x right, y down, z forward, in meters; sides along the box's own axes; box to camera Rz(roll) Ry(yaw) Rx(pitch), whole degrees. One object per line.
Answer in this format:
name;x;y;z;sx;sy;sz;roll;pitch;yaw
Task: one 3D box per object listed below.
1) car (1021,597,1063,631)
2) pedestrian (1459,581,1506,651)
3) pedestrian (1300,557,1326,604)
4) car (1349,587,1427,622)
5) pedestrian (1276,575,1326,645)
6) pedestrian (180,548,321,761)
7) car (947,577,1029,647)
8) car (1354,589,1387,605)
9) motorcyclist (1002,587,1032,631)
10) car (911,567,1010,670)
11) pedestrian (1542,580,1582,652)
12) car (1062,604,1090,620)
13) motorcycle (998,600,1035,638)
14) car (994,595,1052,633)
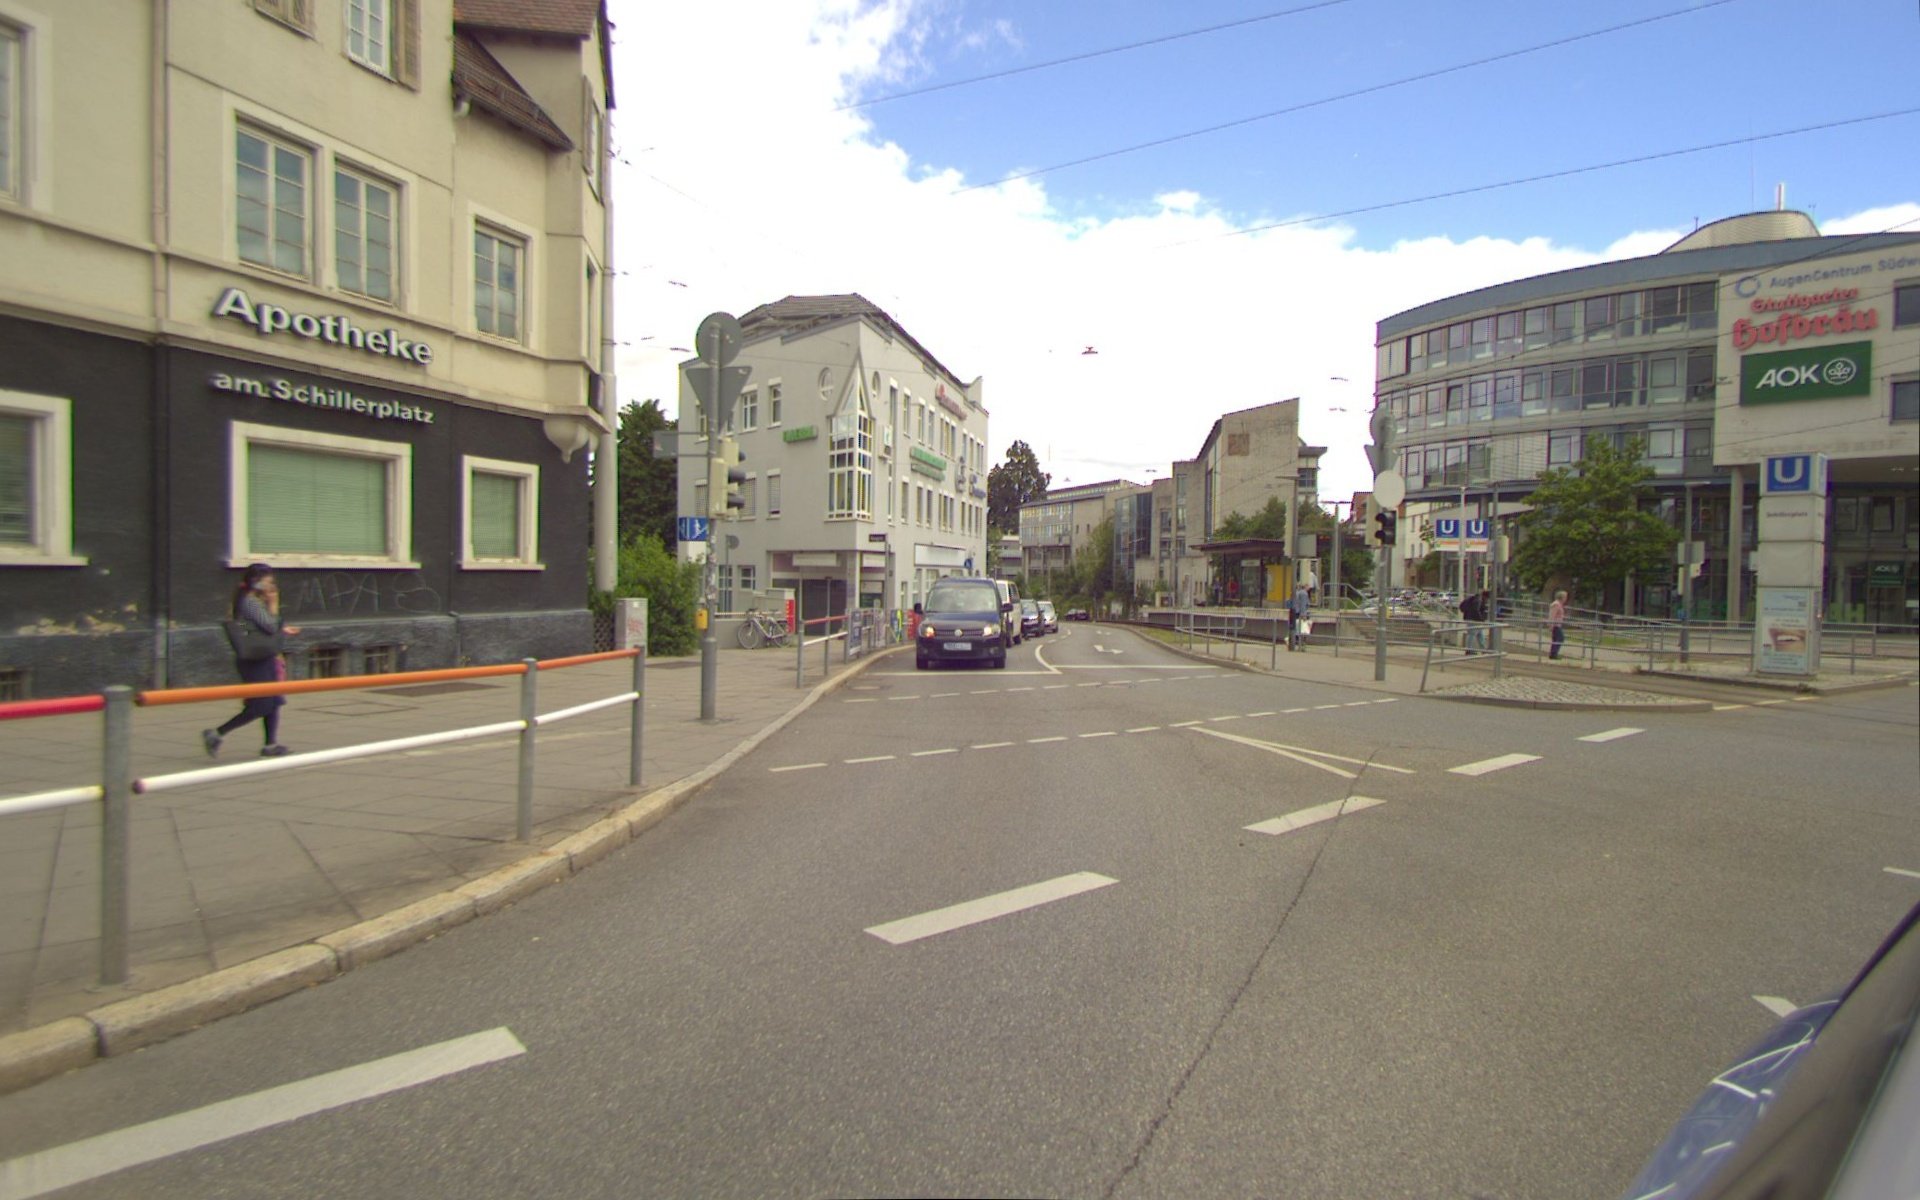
car;3.957;0.617;48.279;1.848;1.456;4.743;0;1;6
pedestrian;12.673;0.388;24.570;0.833;1.655;0.642;-1;-2;15
pedestrian;13.632;-0.750;39.103;0.682;1.766;0.615;-1;-2;-5
car;22.658;0.202;53.761;1.960;1.732;4.324;0;1;-6
pedestrian;8.243;0.226;24.501;0.790;1.668;0.890;1;1;-10
pedestrian;-5.760;0.429;8.244;0.580;1.643;0.740;-1;-2;17
car;0.923;0.272;30.242;1.849;1.918;4.915;0;1;9
car;43.902;-0.349;108.233;1.964;1.732;4.314;0;1;4
motorcyclist;2.010;0.296;35.629;0.875;1.494;0.803;1;1;15
car;0.104;0.290;21.240;1.846;1.918;4.925;0;1;2
pedestrian;14.011;0.370;23.564;0.577;1.655;0.526;-1;-2;2
car;13.063;1.314;113.952;1.958;1.732;4.327;0;1;-11
motorcycle;2.019;0.659;35.681;0.874;1.244;2.146;1;1;15
car;2.653;0.559;41.686;1.850;1.465;4.770;0;-1;10
